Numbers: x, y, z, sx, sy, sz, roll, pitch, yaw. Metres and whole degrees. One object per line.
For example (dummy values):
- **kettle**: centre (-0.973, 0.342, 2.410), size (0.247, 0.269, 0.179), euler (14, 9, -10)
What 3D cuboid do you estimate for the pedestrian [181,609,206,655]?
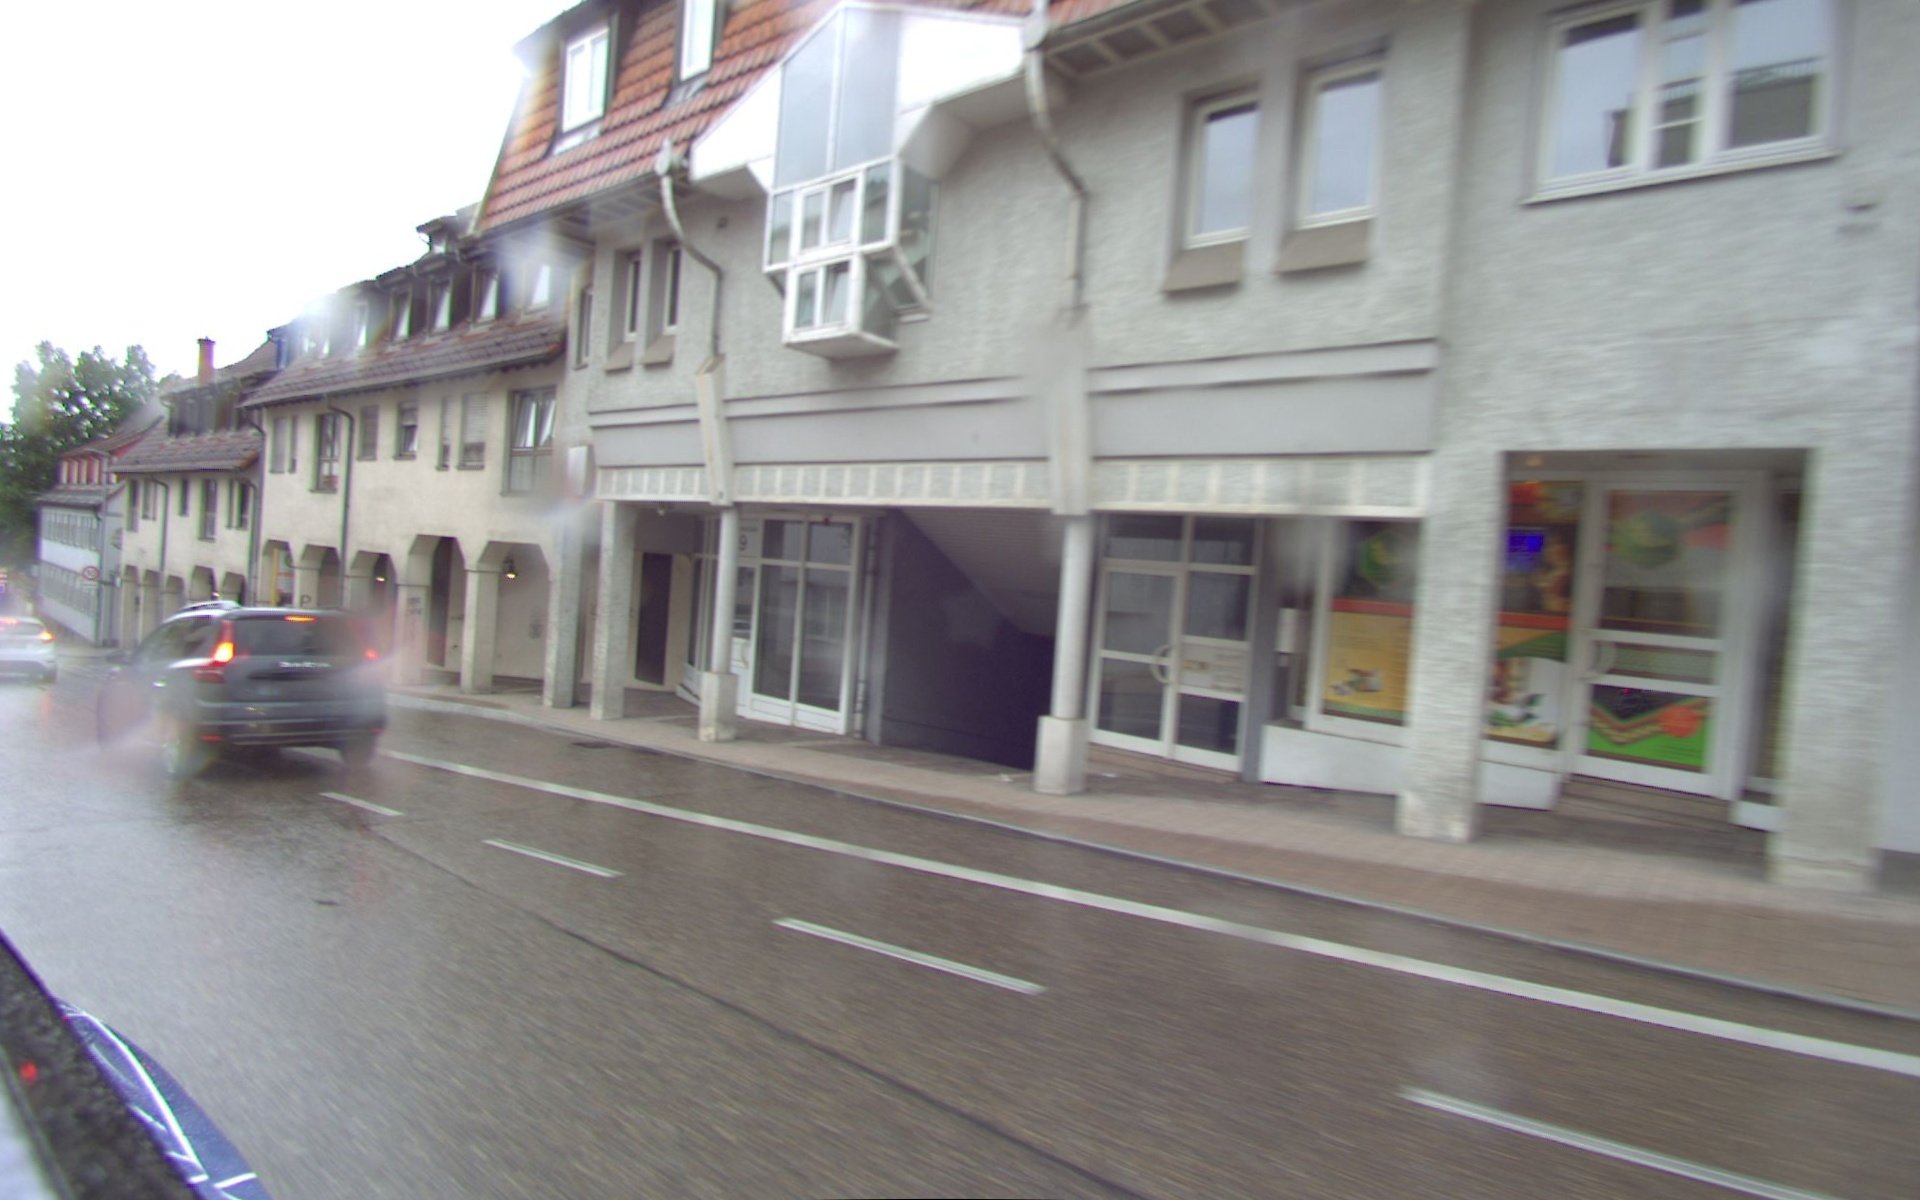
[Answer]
- **pedestrian**: centre (-29.954, 1.237, 39.555), size (0.735, 1.753, 0.680), euler (-1, 0, 44)

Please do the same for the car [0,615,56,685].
- **car**: centre (-22.186, 1.101, 23.301), size (3.588, 1.521, 1.659), euler (0, -2, 42)

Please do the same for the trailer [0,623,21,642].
- **trailer**: centre (-50.008, 1.673, 52.273), size (4.478, 0.912, 1.971), euler (0, 0, 44)

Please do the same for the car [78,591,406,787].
- **car**: centre (-7.891, 0.807, 10.962), size (4.455, 1.707, 1.764), euler (0, -2, 39)
